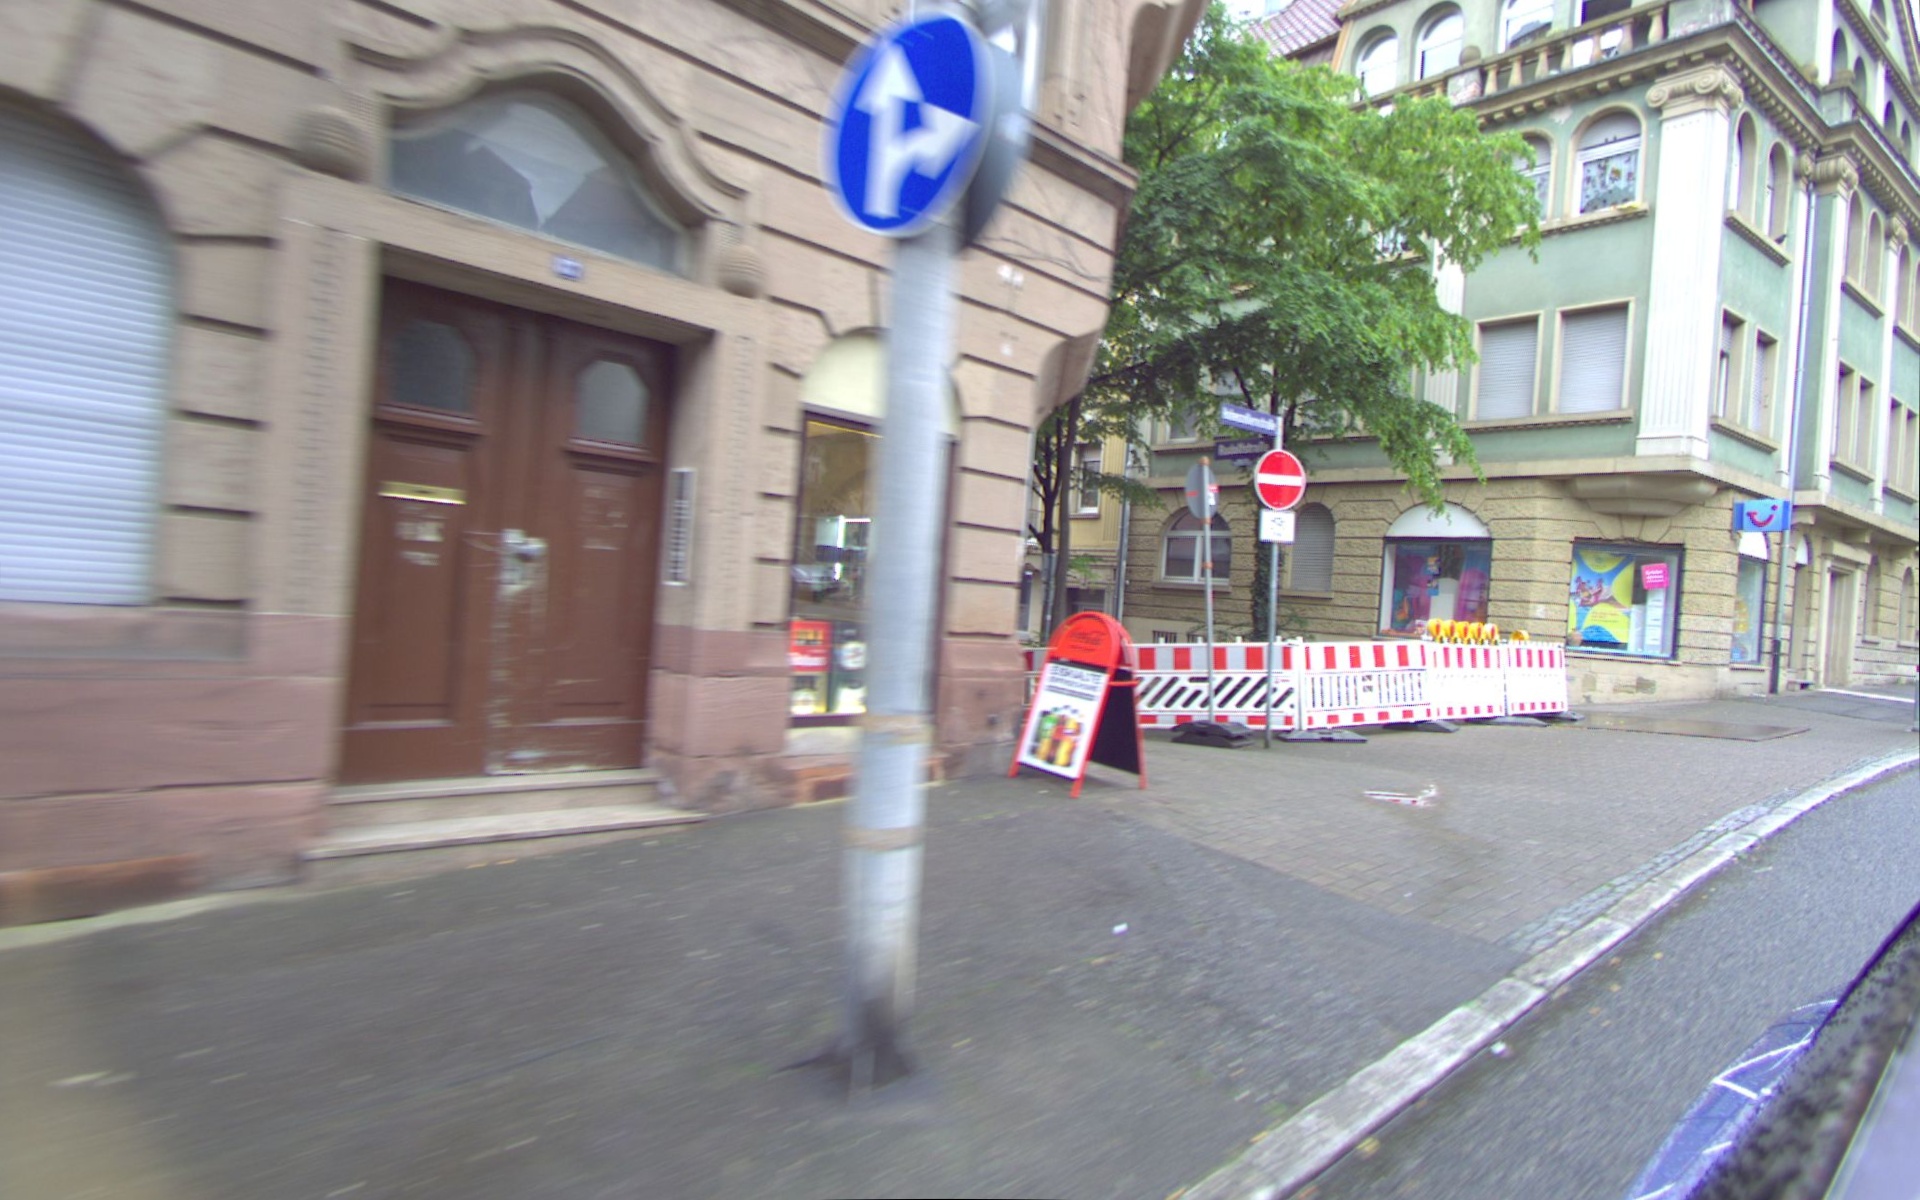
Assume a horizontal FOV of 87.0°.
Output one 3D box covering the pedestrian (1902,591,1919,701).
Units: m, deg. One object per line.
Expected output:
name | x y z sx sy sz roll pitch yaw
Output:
pedestrian | 16.181 0.792 16.619 0.705 1.796 0.667 3 2 -19
